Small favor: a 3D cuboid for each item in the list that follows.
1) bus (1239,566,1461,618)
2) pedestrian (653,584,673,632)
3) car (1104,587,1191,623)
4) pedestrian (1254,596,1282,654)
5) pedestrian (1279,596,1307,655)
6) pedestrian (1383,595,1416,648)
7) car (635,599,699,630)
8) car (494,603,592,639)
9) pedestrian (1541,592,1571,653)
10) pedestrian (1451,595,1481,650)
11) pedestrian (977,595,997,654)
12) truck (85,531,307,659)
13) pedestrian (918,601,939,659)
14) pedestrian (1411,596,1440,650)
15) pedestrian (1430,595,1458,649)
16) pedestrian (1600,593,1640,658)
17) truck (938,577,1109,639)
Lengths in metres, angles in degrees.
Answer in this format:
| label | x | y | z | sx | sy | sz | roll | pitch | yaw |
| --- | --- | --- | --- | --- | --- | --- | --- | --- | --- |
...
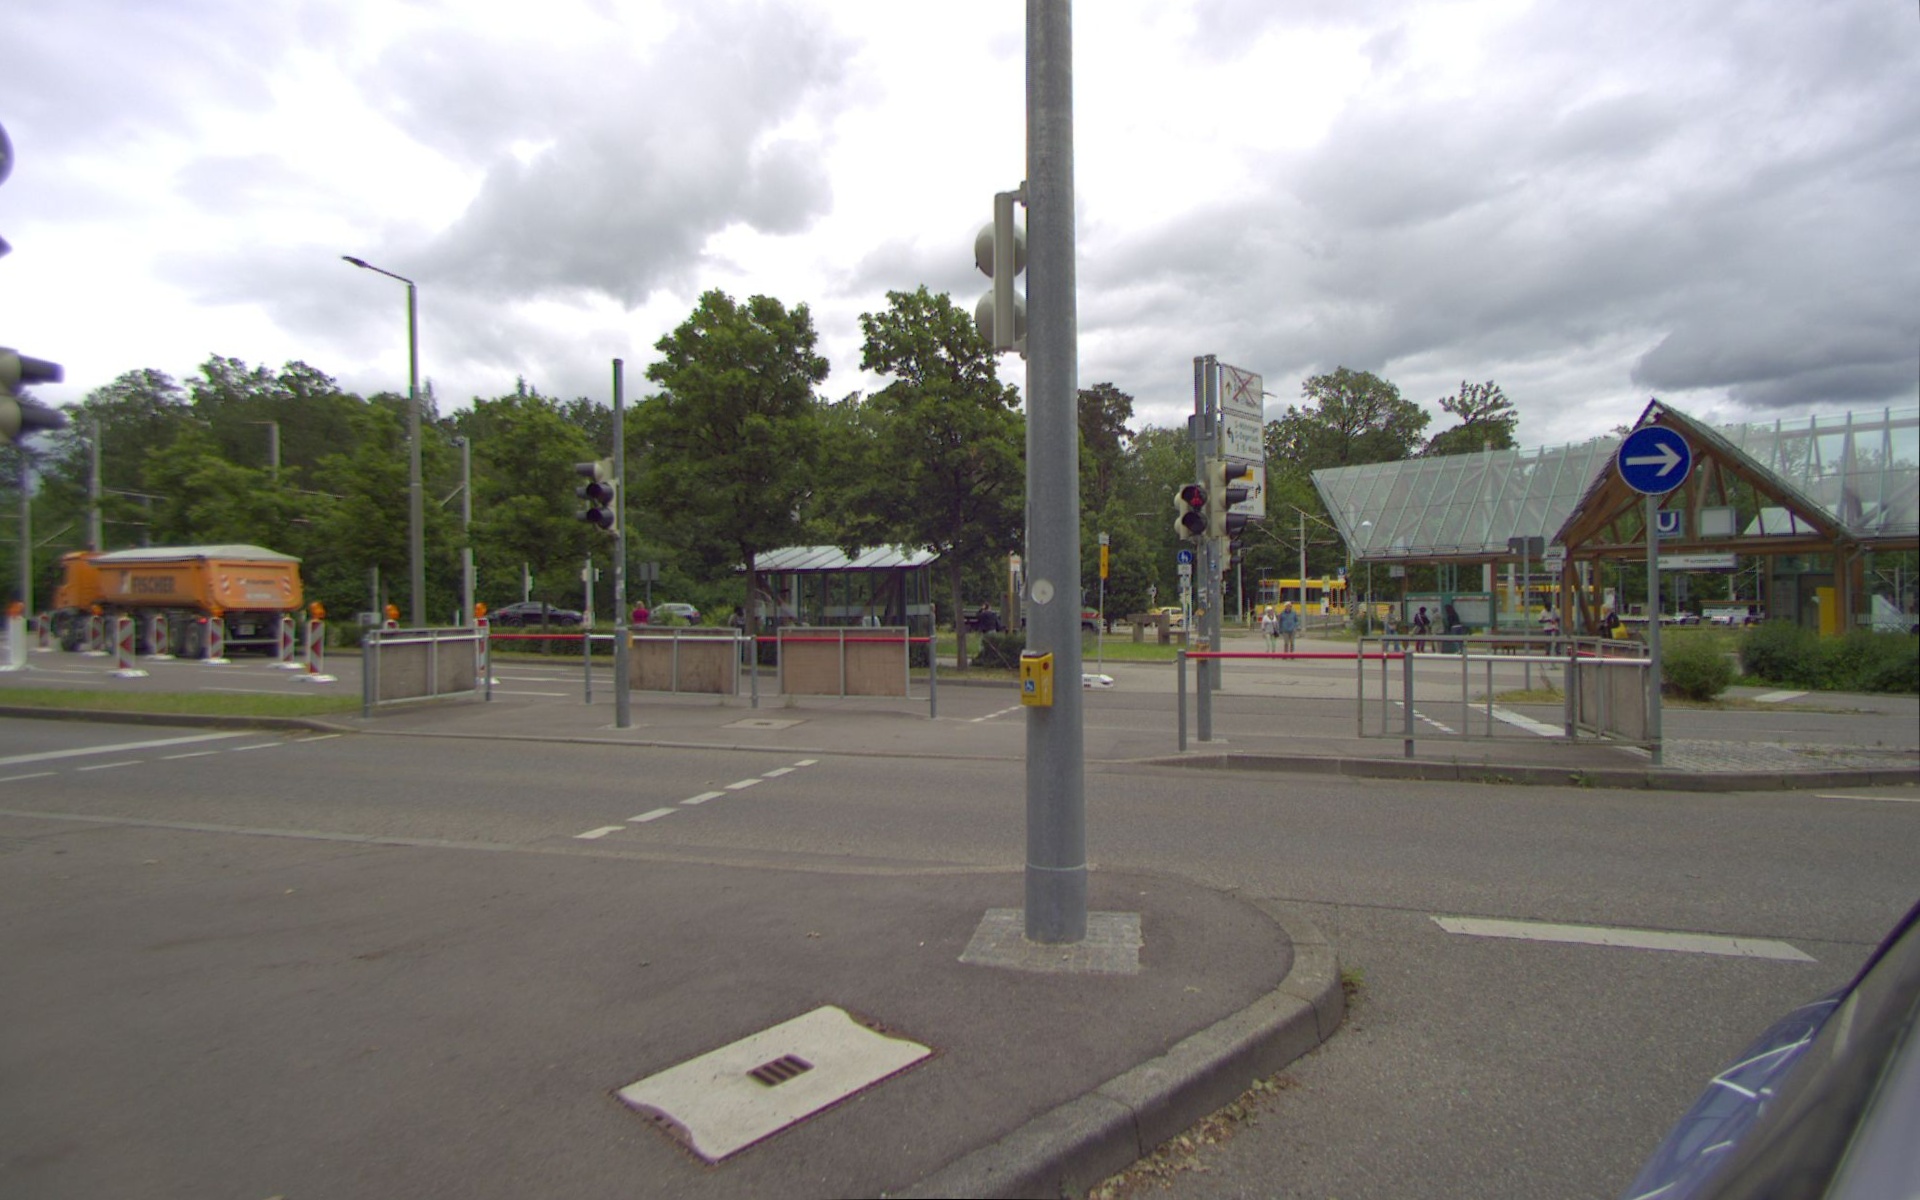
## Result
| label | x | y | z | sx | sy | sz | roll | pitch | yaw |
| --- | --- | --- | --- | --- | --- | --- | --- | --- | --- |
| bus | 29.473 | -0.474 | 75.948 | 18.192 | 3.528 | 3.984 | 0 | -2 | -25 |
| pedestrian | -14.630 | 0.395 | 49.902 | 0.845 | 2.324 | 0.617 | 0 | -2 | -3 |
| car | 13.757 | 0.370 | 74.217 | 6.019 | 2.526 | 2.003 | 0 | -2 | -21 |
| pedestrian | 9.607 | 0.794 | 31.575 | 0.729 | 1.780 | 0.662 | -1 | -2 | 26 |
| pedestrian | 10.321 | 0.787 | 31.359 | 0.729 | 1.780 | 0.663 | -1 | -2 | 24 |
| pedestrian | 14.992 | 0.723 | 34.531 | 0.723 | 1.780 | 0.732 | 1 | -3 | -39 |
| car | -19.426 | 0.982 | 67.121 | 3.916 | 2.040 | 2.003 | 0 | -2 | -21 |
| car | -24.780 | 1.251 | 60.366 | 5.321 | 2.040 | 2.003 | 0 | -2 | -21 |
| pedestrian | 17.818 | 0.670 | 30.267 | 0.649 | 1.780 | 0.662 | -1 | -2 | 26 |
| pedestrian | 16.533 | 0.736 | 33.084 | 0.589 | 1.780 | 0.668 | 0 | -2 | 2 |
| pedestrian | 0.726 | 0.657 | 26.791 | 0.471 | 1.536 | 0.522 | -1 | -2 | 8 |
| truck | -23.954 | -0.169 | 31.585 | 8.183 | 3.559 | 2.836 | 0 | 0 | 32 |
| pedestrian | -0.835 | 0.798 | 27.087 | 0.471 | 1.536 | 0.522 | -1 | -2 | 8 |
| pedestrian | 15.599 | 0.778 | 33.933 | 0.654 | 1.780 | 0.563 | 0 | -2 | -12 |
| pedestrian | 15.941 | 0.726 | 33.346 | 0.589 | 1.780 | 0.668 | 0 | -2 | 2 |
| pedestrian | 18.177 | 0.702 | 27.883 | 0.643 | 1.780 | 0.669 | 1 | -2 | -29 |
| truck | 2.485 | 0.332 | 40.481 | 6.408 | 2.382 | 2.410 | 0 | -2 | -11 |
